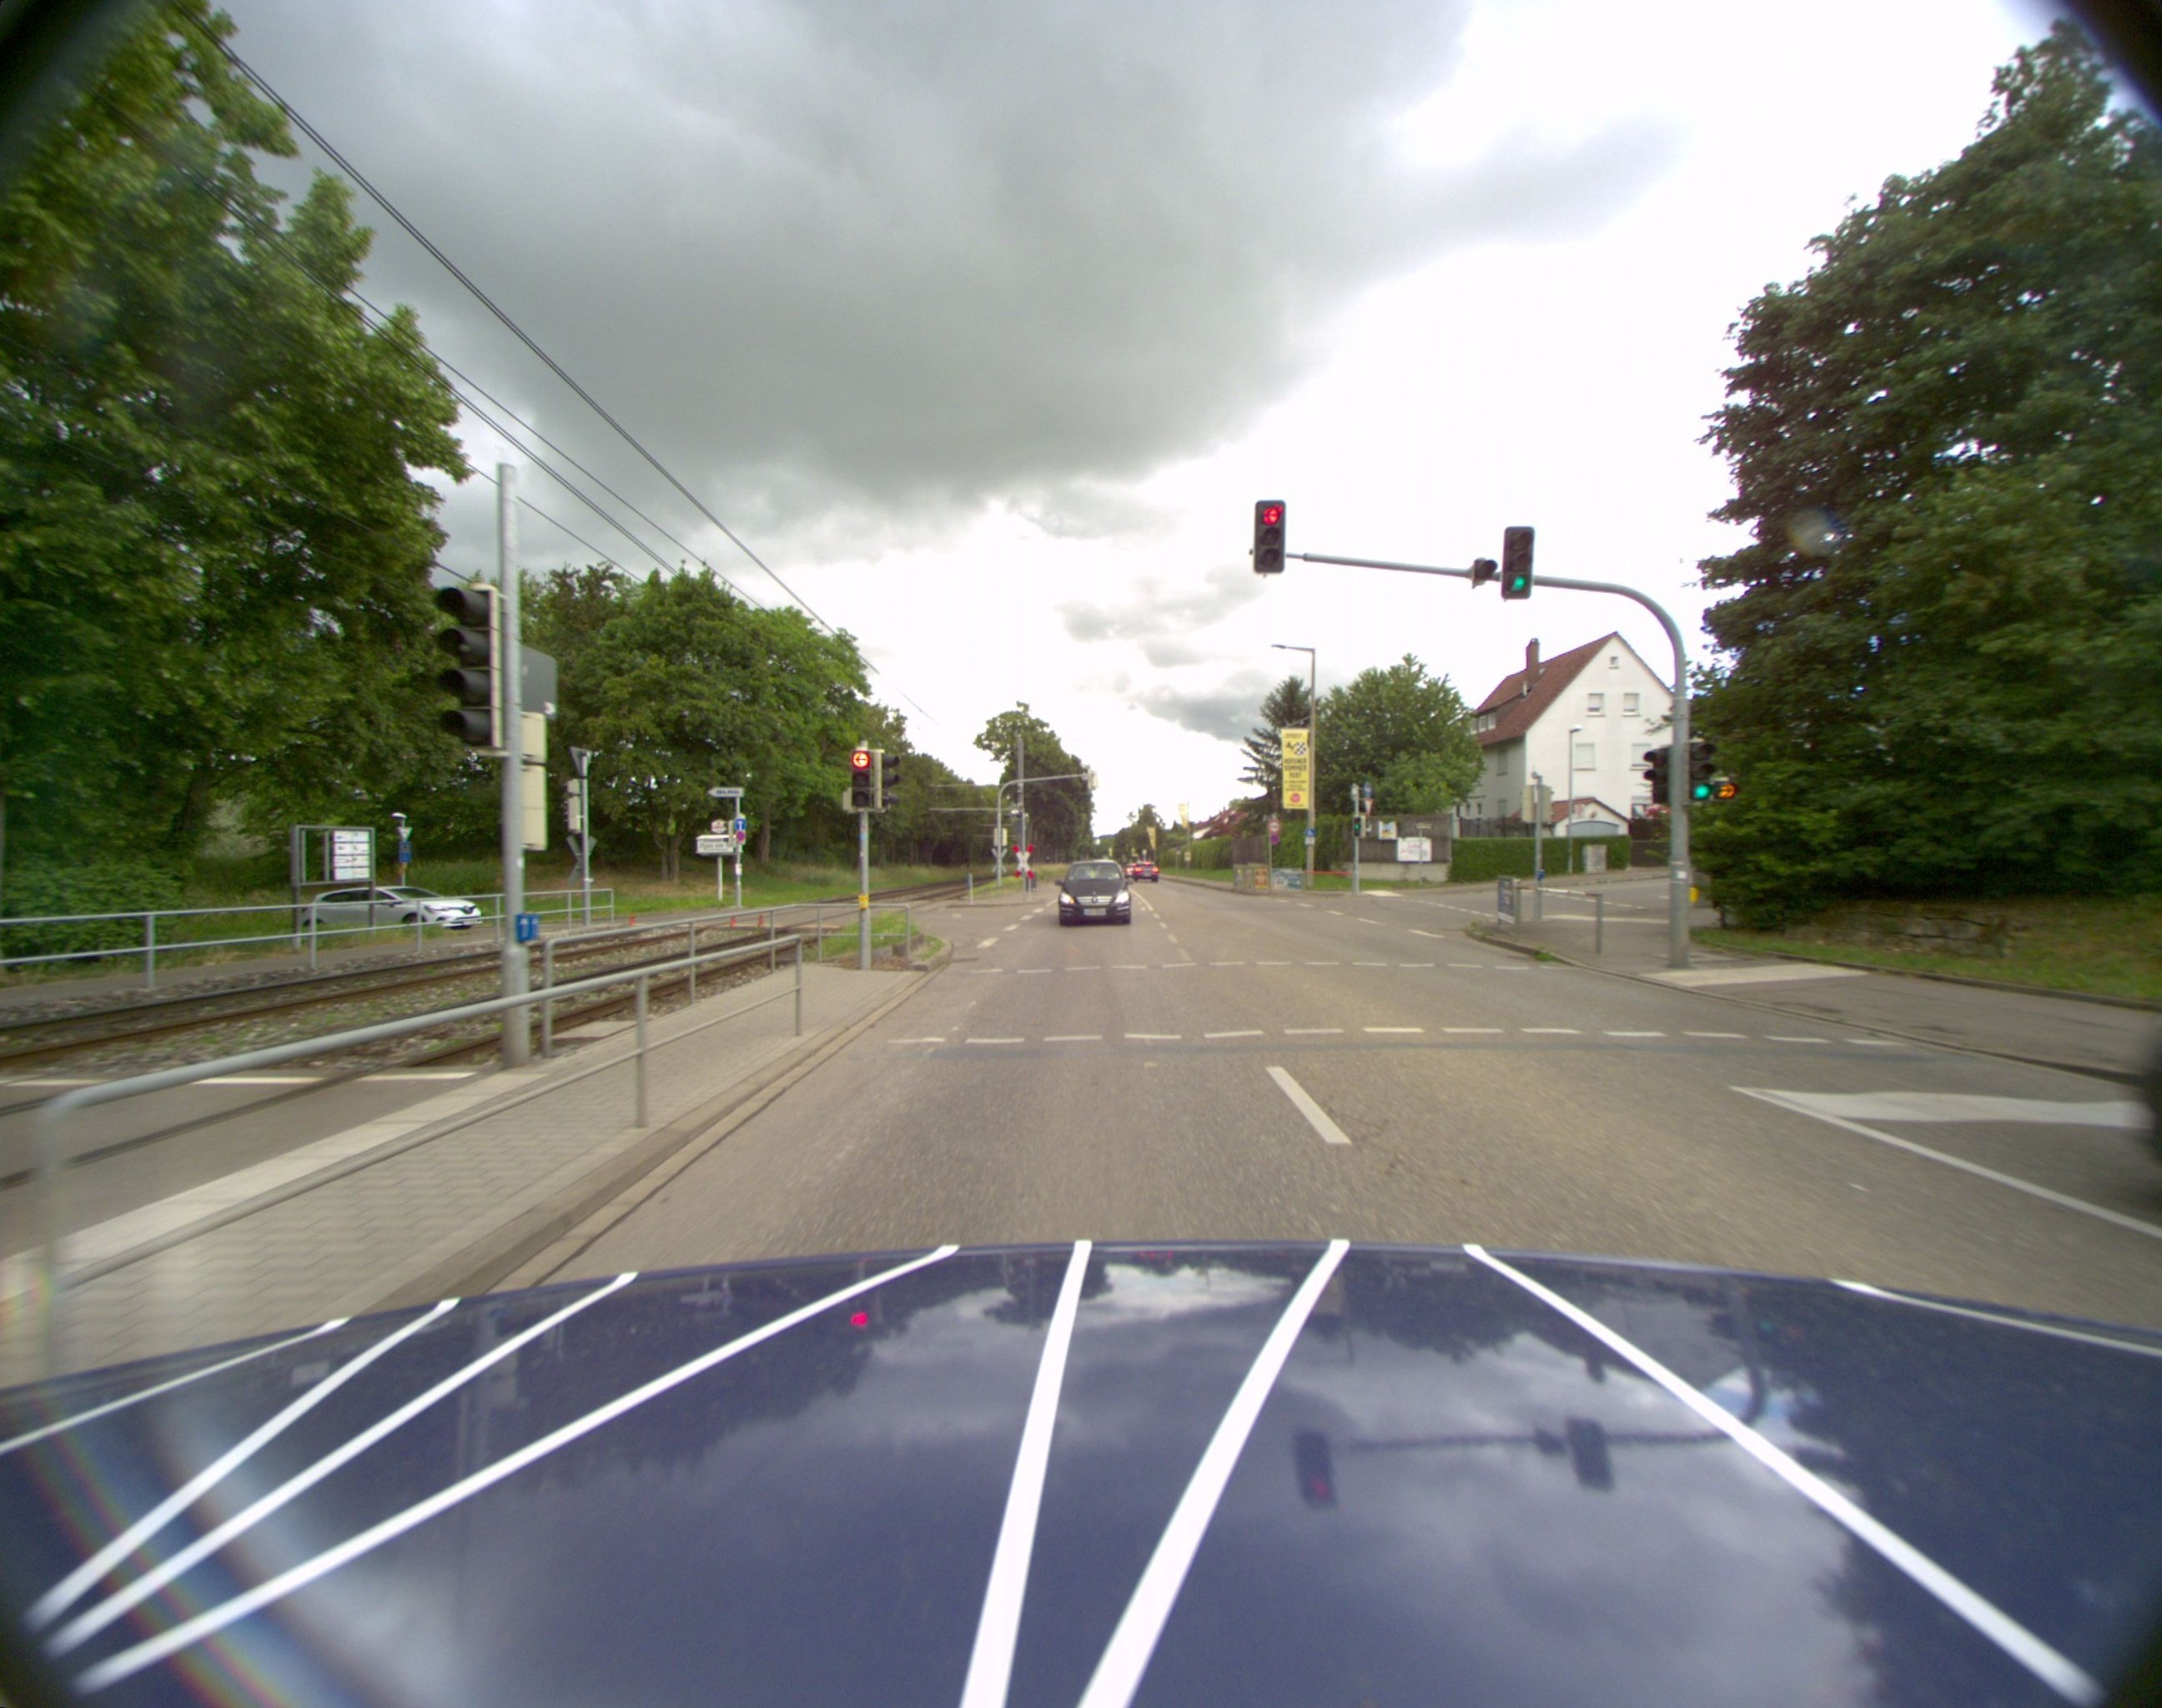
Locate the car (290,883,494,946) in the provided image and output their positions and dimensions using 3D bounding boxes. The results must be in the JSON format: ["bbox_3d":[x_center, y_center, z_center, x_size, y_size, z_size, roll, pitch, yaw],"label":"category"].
[{"bbox_3d":[-19.279,1.665,21.406,3.998,1.376,1.785,-3,0,-2],"label":"car"}]

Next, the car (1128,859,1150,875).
[{"bbox_3d":[5.717,1.286,75.265,1.880,1.501,4.208,1,0,1],"label":"car"}]

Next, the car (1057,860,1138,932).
[{"bbox_3d":[0.393,0.949,18.922,1.749,1.558,4.122,-2,0,1],"label":"car"}]

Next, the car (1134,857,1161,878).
[{"bbox_3d":[5.410,1.081,62.143,1.904,1.569,4.279,1,0,1],"label":"car"}]

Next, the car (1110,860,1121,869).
[{"bbox_3d":[6.217,1.836,137.551,1.904,1.569,4.122,1,0,1],"label":"car"}]
